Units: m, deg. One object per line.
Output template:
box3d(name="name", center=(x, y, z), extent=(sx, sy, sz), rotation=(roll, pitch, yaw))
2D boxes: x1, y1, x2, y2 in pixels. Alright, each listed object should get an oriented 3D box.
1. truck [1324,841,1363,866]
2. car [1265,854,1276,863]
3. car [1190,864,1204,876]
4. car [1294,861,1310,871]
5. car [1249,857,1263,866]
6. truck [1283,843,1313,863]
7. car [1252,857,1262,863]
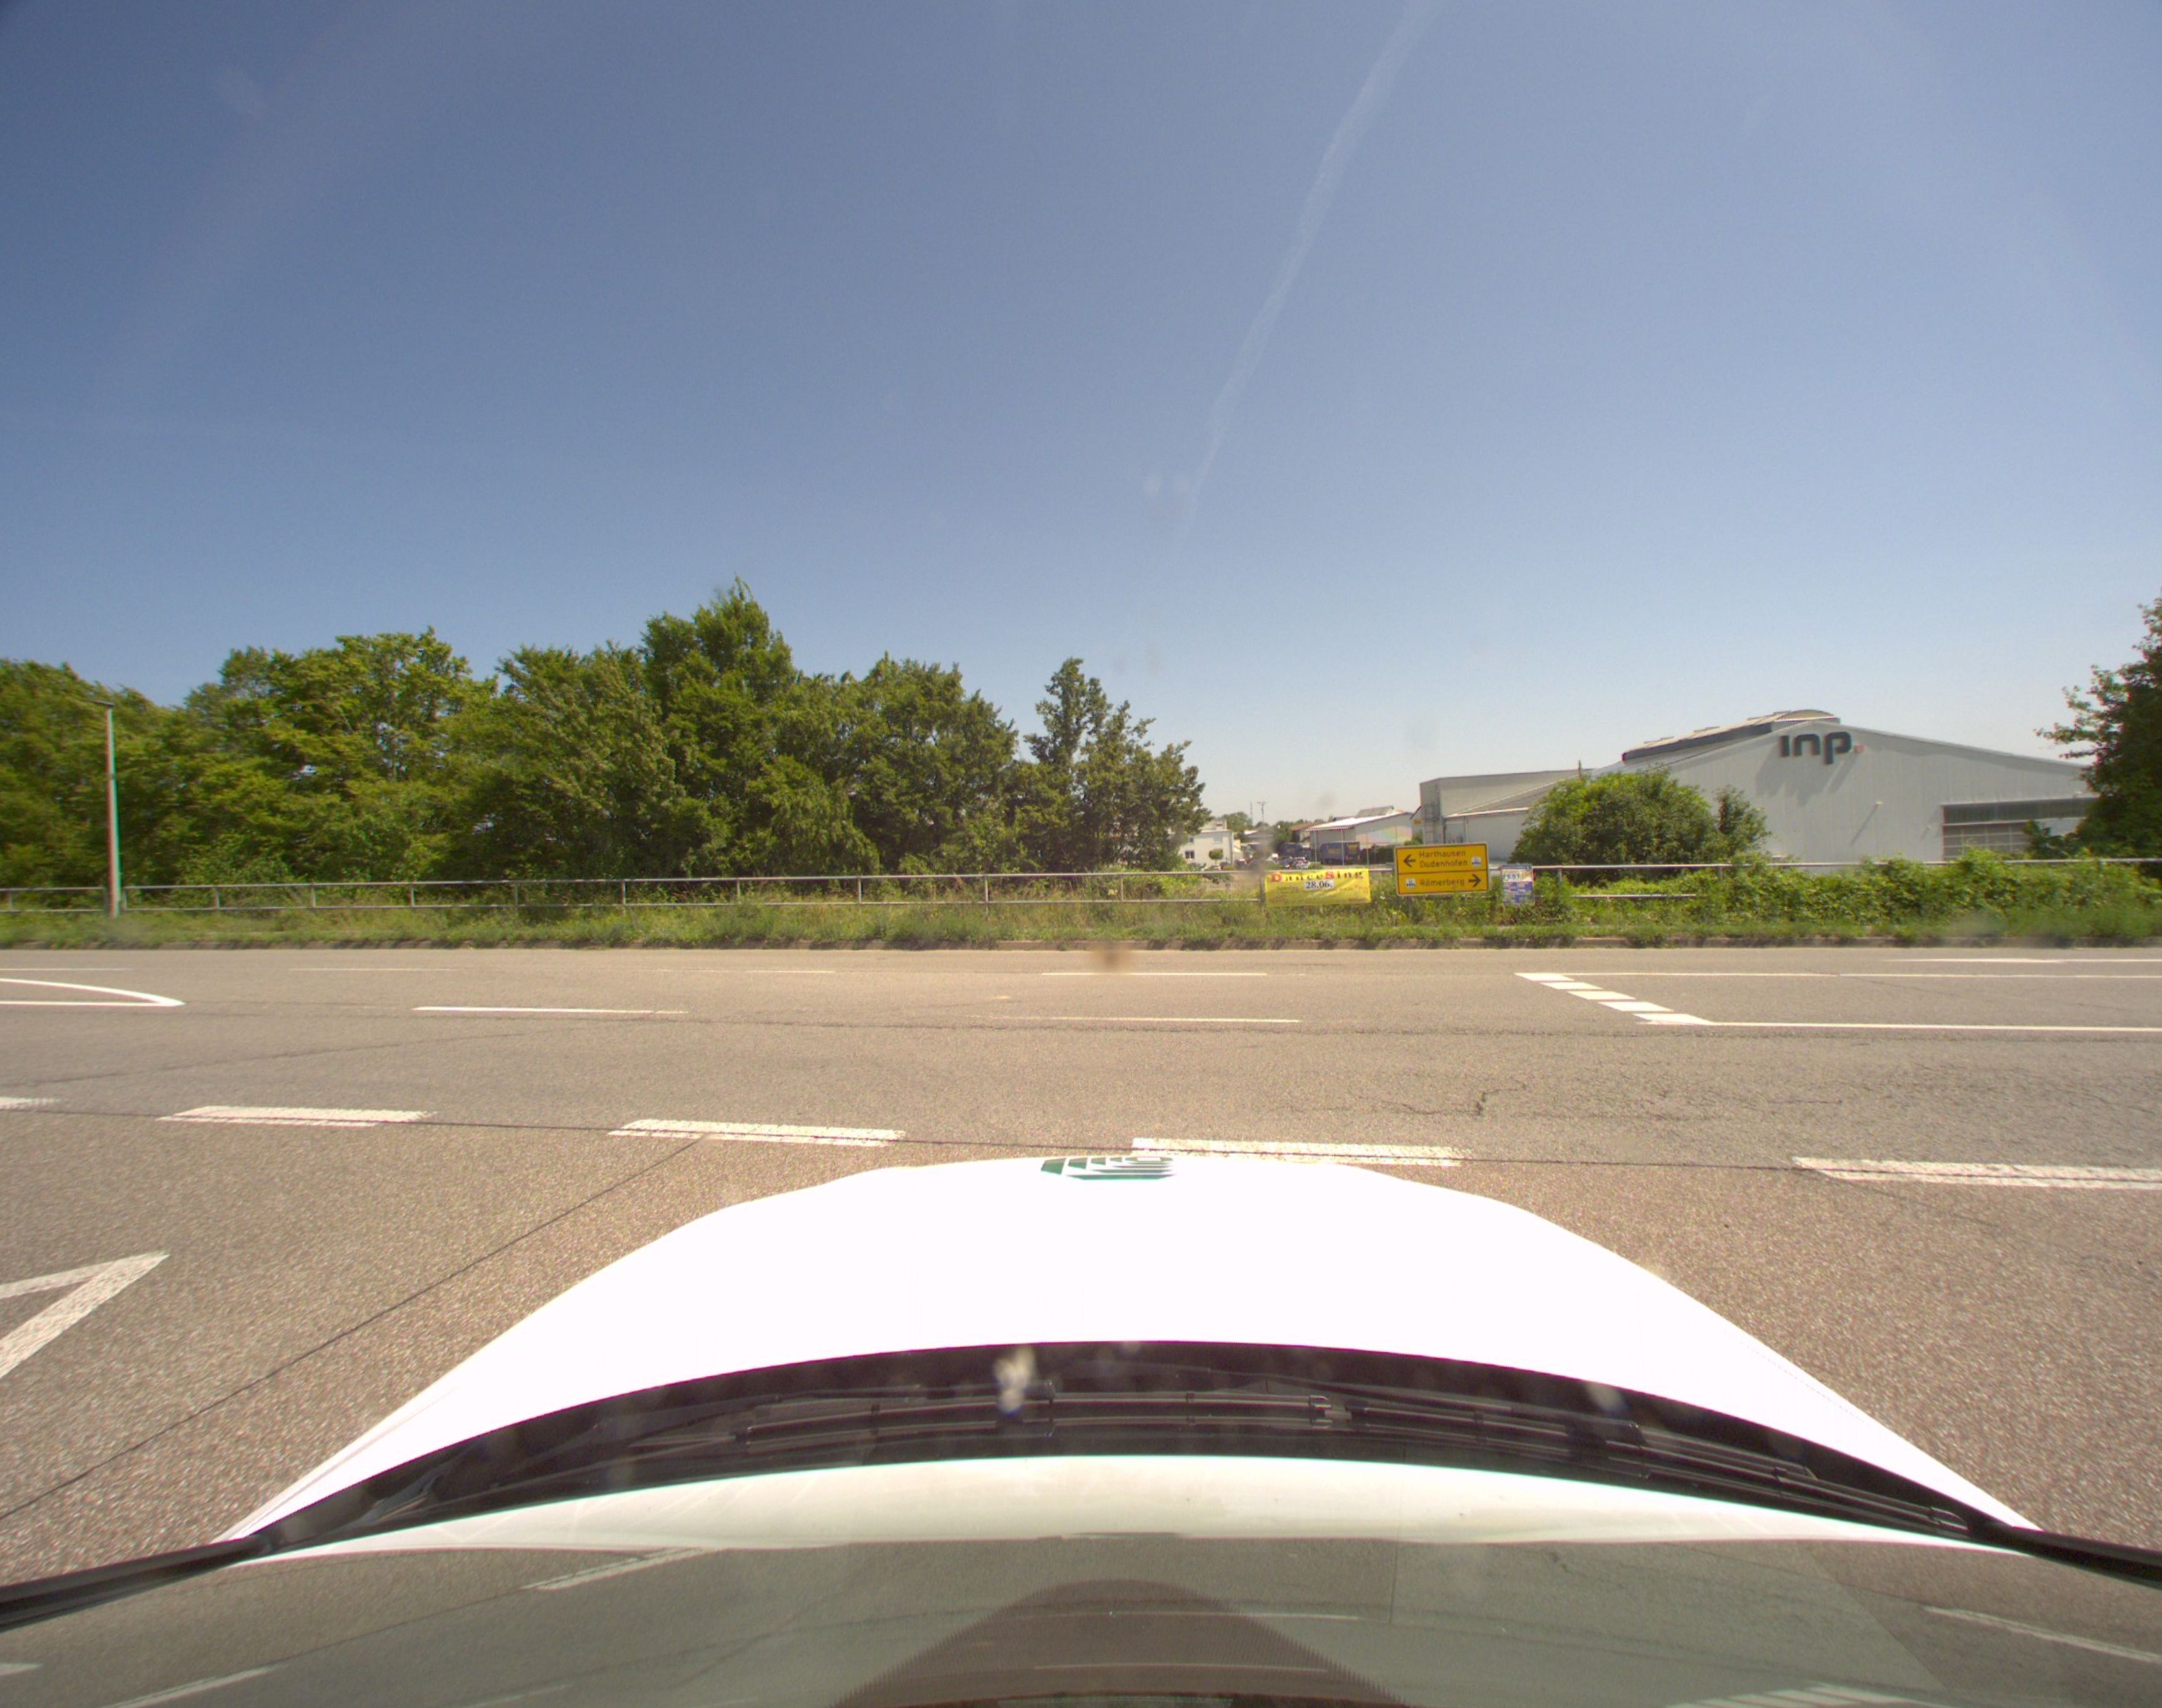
box3d(name="truck", center=(47.653, -0.083, 148.213), extent=(3.691, 4.310, 13.359), rotation=(-1, 0, 5))
box3d(name="car", center=(40.254, 0.940, 173.144), extent=(1.710, 2.013, 4.003), rotation=(-2, 0, 3))
box3d(name="car", center=(21.223, 2.927, 149.270), extent=(1.986, 2.013, 4.865), rotation=(-1, 0, 2))
box3d(name="car", center=(36.135, 1.984, 133.225), extent=(1.676, 1.363, 3.839), rotation=(-4, 0, 3))
box3d(name="car", center=(36.069, 1.519, 167.786), extent=(1.986, 1.731, 4.866), rotation=(-1, 0, 2))
box3d(name="truck", center=(48.607, -0.249, 182.894), extent=(3.397, 4.310, 14.607), rotation=(-1, 0, 3))
box3d(name="car", center=(37.866, 1.291, 175.549), extent=(1.445, 1.350, 3.317), rotation=(-2, 0, 2))
